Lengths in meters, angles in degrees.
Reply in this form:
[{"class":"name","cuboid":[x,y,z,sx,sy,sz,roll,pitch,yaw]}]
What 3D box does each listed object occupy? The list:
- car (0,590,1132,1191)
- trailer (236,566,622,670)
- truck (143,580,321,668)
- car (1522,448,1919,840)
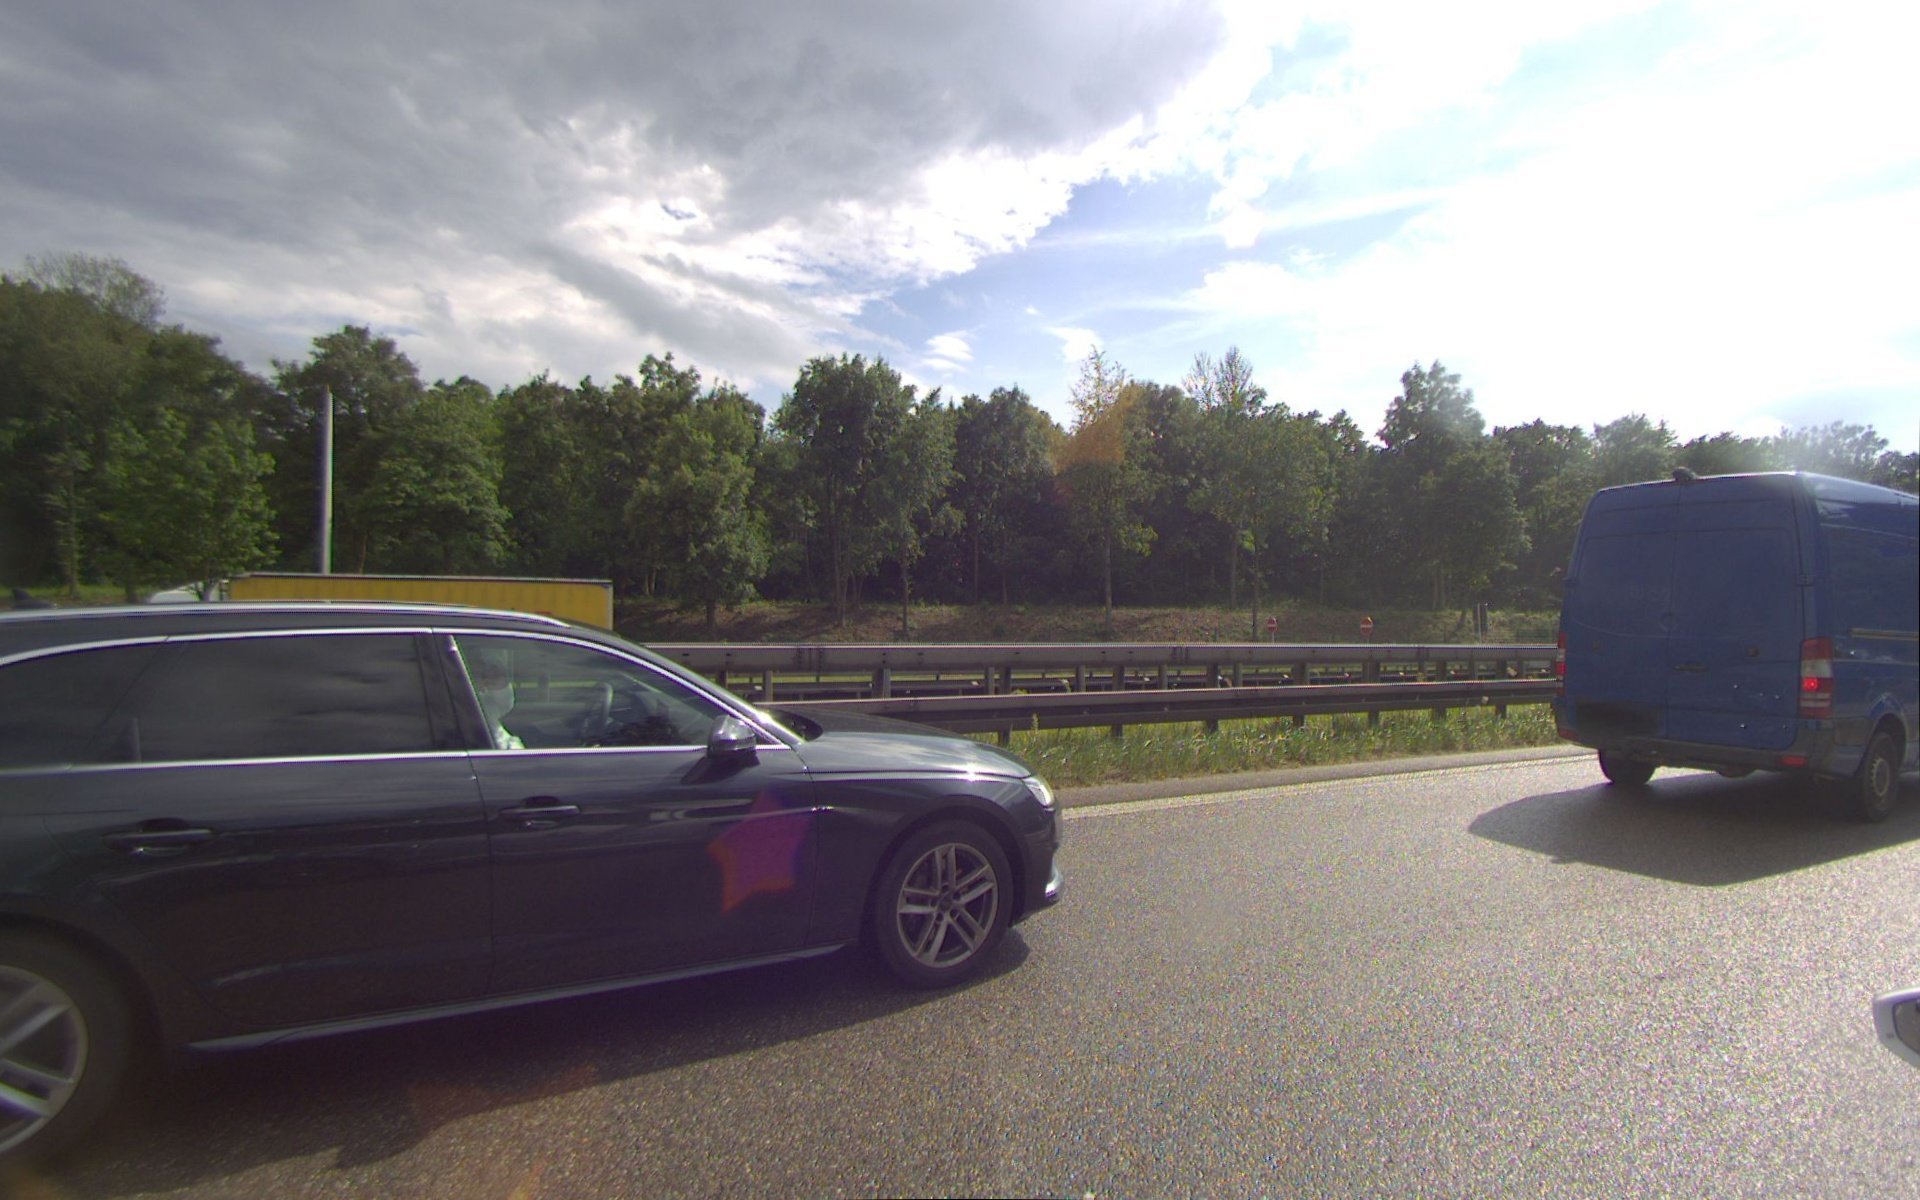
[{"class":"car","cuboid":[-1.600,0.722,3.814,4.417,1.430,1.710,2,-1,-32]},{"class":"trailer","cuboid":[-20.763,0.816,40.380,13.444,3.744,1.992,2,0,-19]},{"class":"truck","cuboid":[-27.483,0.898,38.127,4.997,3.139,1.974,2,0,-19]},{"class":"car","cuboid":[7.789,0.365,9.223,5.710,2.684,2.005,1,0,-31]}]
